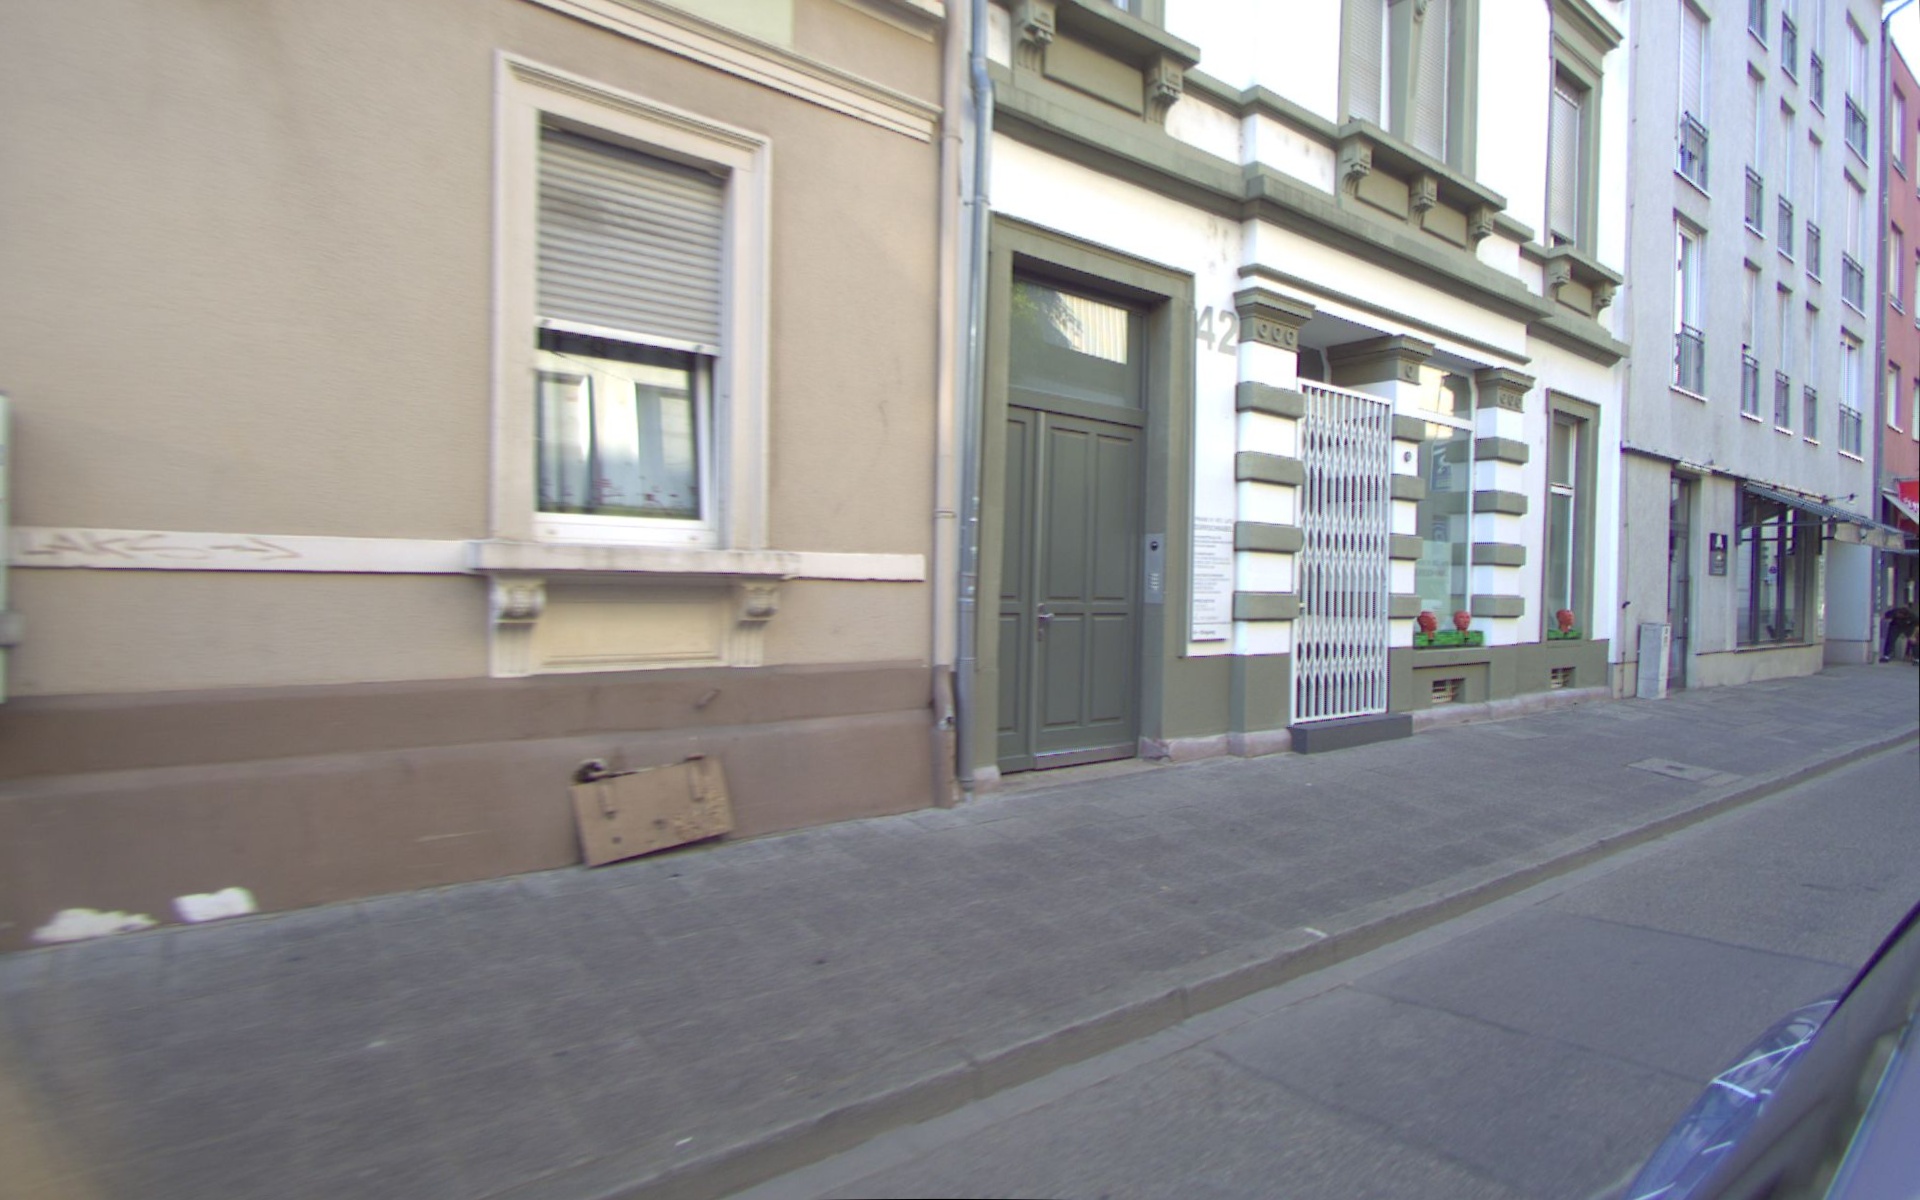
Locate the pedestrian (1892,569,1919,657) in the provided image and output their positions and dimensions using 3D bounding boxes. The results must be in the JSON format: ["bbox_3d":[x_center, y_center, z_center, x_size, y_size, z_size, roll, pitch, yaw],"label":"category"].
[{"bbox_3d":[20.360,0.278,21.331,0.650,1.814,0.728,3,3,12],"label":"pedestrian"}]

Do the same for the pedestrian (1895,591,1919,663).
[{"bbox_3d":[20.511,0.582,21.508,0.649,1.504,0.827,1,0,-38],"label":"pedestrian"}]
